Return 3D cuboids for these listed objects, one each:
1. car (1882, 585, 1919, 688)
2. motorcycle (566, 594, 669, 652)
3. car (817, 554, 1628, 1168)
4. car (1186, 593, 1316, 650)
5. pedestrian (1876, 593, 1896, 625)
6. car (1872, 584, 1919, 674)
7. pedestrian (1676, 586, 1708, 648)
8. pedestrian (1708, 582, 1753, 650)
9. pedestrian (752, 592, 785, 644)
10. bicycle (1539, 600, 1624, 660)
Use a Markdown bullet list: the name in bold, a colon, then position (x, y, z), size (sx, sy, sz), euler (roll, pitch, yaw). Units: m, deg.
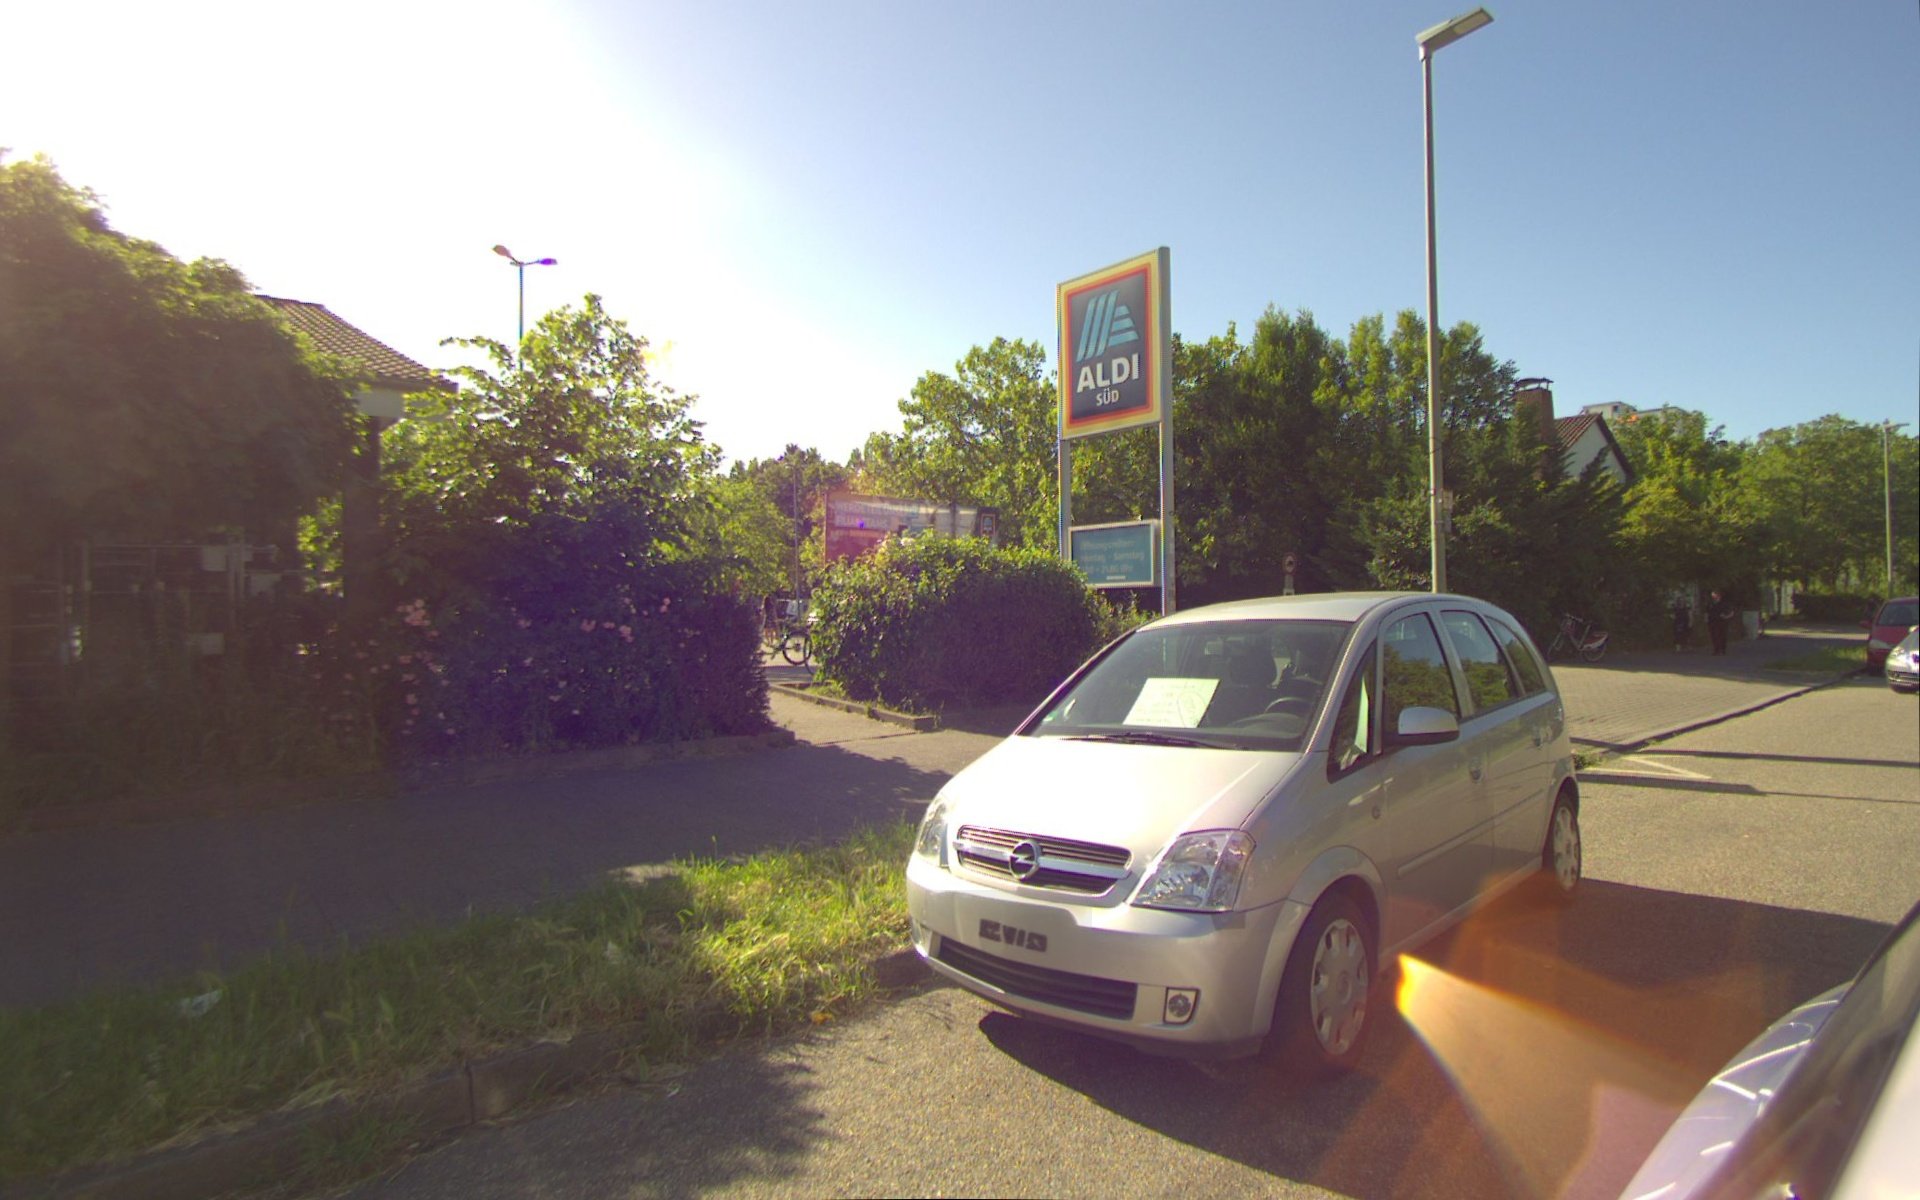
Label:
- **car**: position (17.419, 0.584, 16.509), size (3.676, 1.666, 1.860), euler (0, -1, -16)
- **motorcycle**: position (-9.365, 0.616, 27.743), size (2.552, 1.528, 0.871), euler (0, -1, -41)
- **car**: position (1.489, 0.704, 4.669), size (3.960, 1.620, 1.681), euler (-1, -3, -43)
- **car**: position (8.247, 0.570, 28.548), size (3.736, 1.522, 1.775), euler (0, -1, -41)
- **pedestrian**: position (48.435, 0.464, 52.922), size (0.629, 1.659, 0.641), euler (0, -1, -38)
- **car**: position (21.349, 0.575, 21.848), size (4.571, 1.828, 1.843), euler (0, -1, -40)
- **pedestrian**: position (19.873, 0.451, 27.484), size (0.780, 1.629, 0.573), euler (-2, 2, -44)
- **pedestrian**: position (20.410, 0.395, 26.808), size (0.968, 1.738, 0.804), euler (-2, 2, -44)
- **pedestrian**: position (-6.276, 0.582, 33.160), size (0.814, 1.677, 0.672), euler (0, -1, -42)
- **bicycle**: position (13.929, 0.648, 22.681), size (1.857, 1.236, 0.724), euler (-1, 2, -25)
